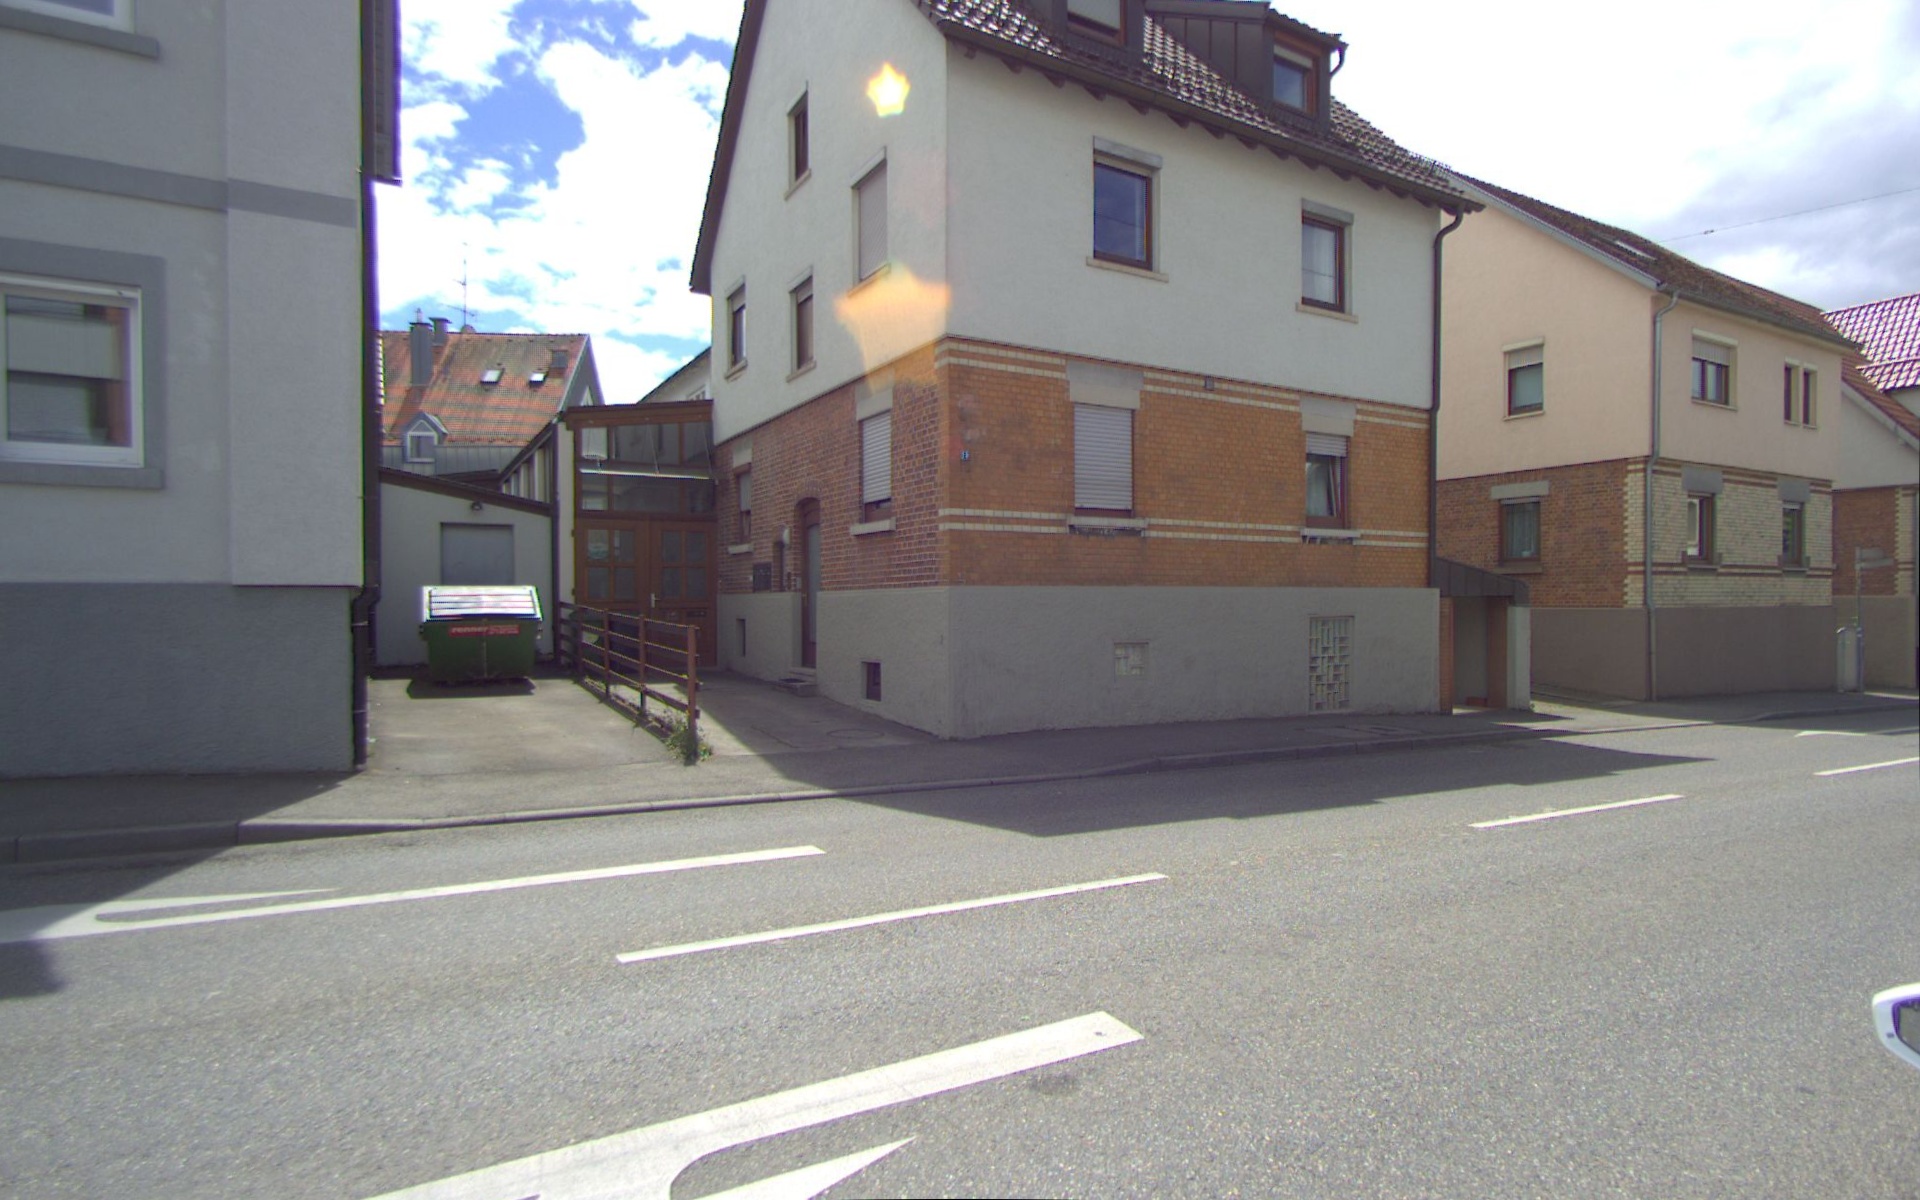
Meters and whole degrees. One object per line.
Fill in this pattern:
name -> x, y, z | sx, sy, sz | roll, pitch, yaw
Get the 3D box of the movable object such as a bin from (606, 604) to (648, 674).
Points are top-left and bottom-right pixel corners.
movable object such as a bin -> -5.722, 0.657, 17.255 | 0.569, 1.165, 0.680 | 1, -1, -28

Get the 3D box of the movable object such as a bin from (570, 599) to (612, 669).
movable object such as a bin -> -6.232, 0.568, 16.951 | 0.569, 1.165, 0.680 | 1, -1, -28
